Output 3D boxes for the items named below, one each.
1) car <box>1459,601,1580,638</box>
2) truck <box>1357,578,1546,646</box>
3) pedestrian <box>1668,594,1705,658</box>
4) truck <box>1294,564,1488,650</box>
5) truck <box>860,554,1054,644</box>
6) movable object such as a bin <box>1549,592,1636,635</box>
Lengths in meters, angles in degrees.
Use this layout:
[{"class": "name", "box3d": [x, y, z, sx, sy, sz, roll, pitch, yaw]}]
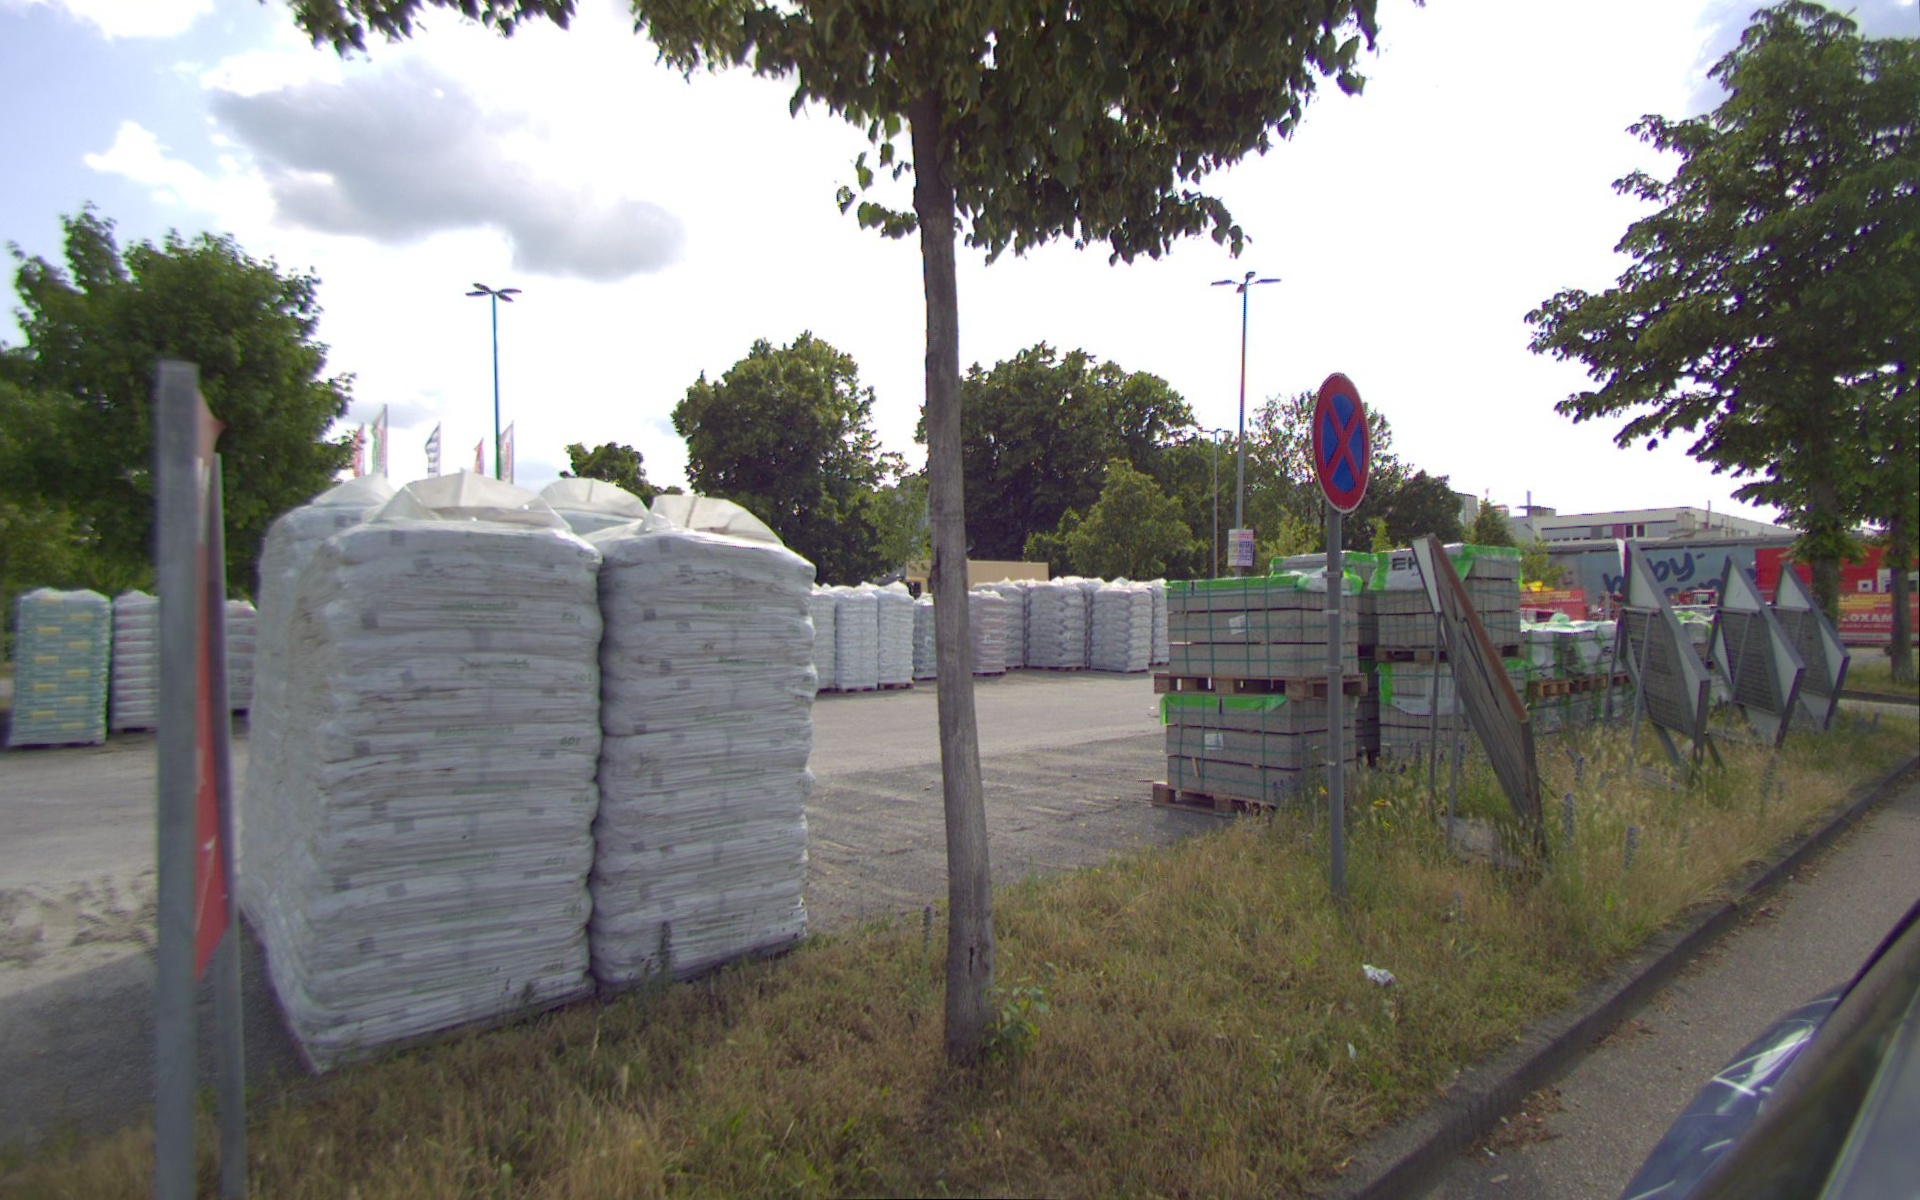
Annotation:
[{"class": "car", "box3d": [23.243, 0.775, 42.146, 4.133, 1.432, 1.592, 0, 0, 45]}, {"class": "truck", "box3d": [17.822, 0.406, 36.942, 2.136, 2.284, 5.850, 1, -1, -43]}, {"class": "pedestrian", "box3d": [19.783, 0.690, 27.546, 0.863, 1.713, 0.600, -1, 0, -39]}, {"class": "truck", "box3d": [13.815, 0.225, 32.719, 2.080, 2.547, 5.433, 1, -1, -43]}, {"class": "truck", "box3d": [0.022, -0.019, 44.900, 8.873, 3.644, 2.727, 0, 0, -39]}, {"class": "movable object such as a bin", "box3d": [28.294, 0.593, 45.331, 1.364, 1.867, 3.008, 1, -1, -40]}]
